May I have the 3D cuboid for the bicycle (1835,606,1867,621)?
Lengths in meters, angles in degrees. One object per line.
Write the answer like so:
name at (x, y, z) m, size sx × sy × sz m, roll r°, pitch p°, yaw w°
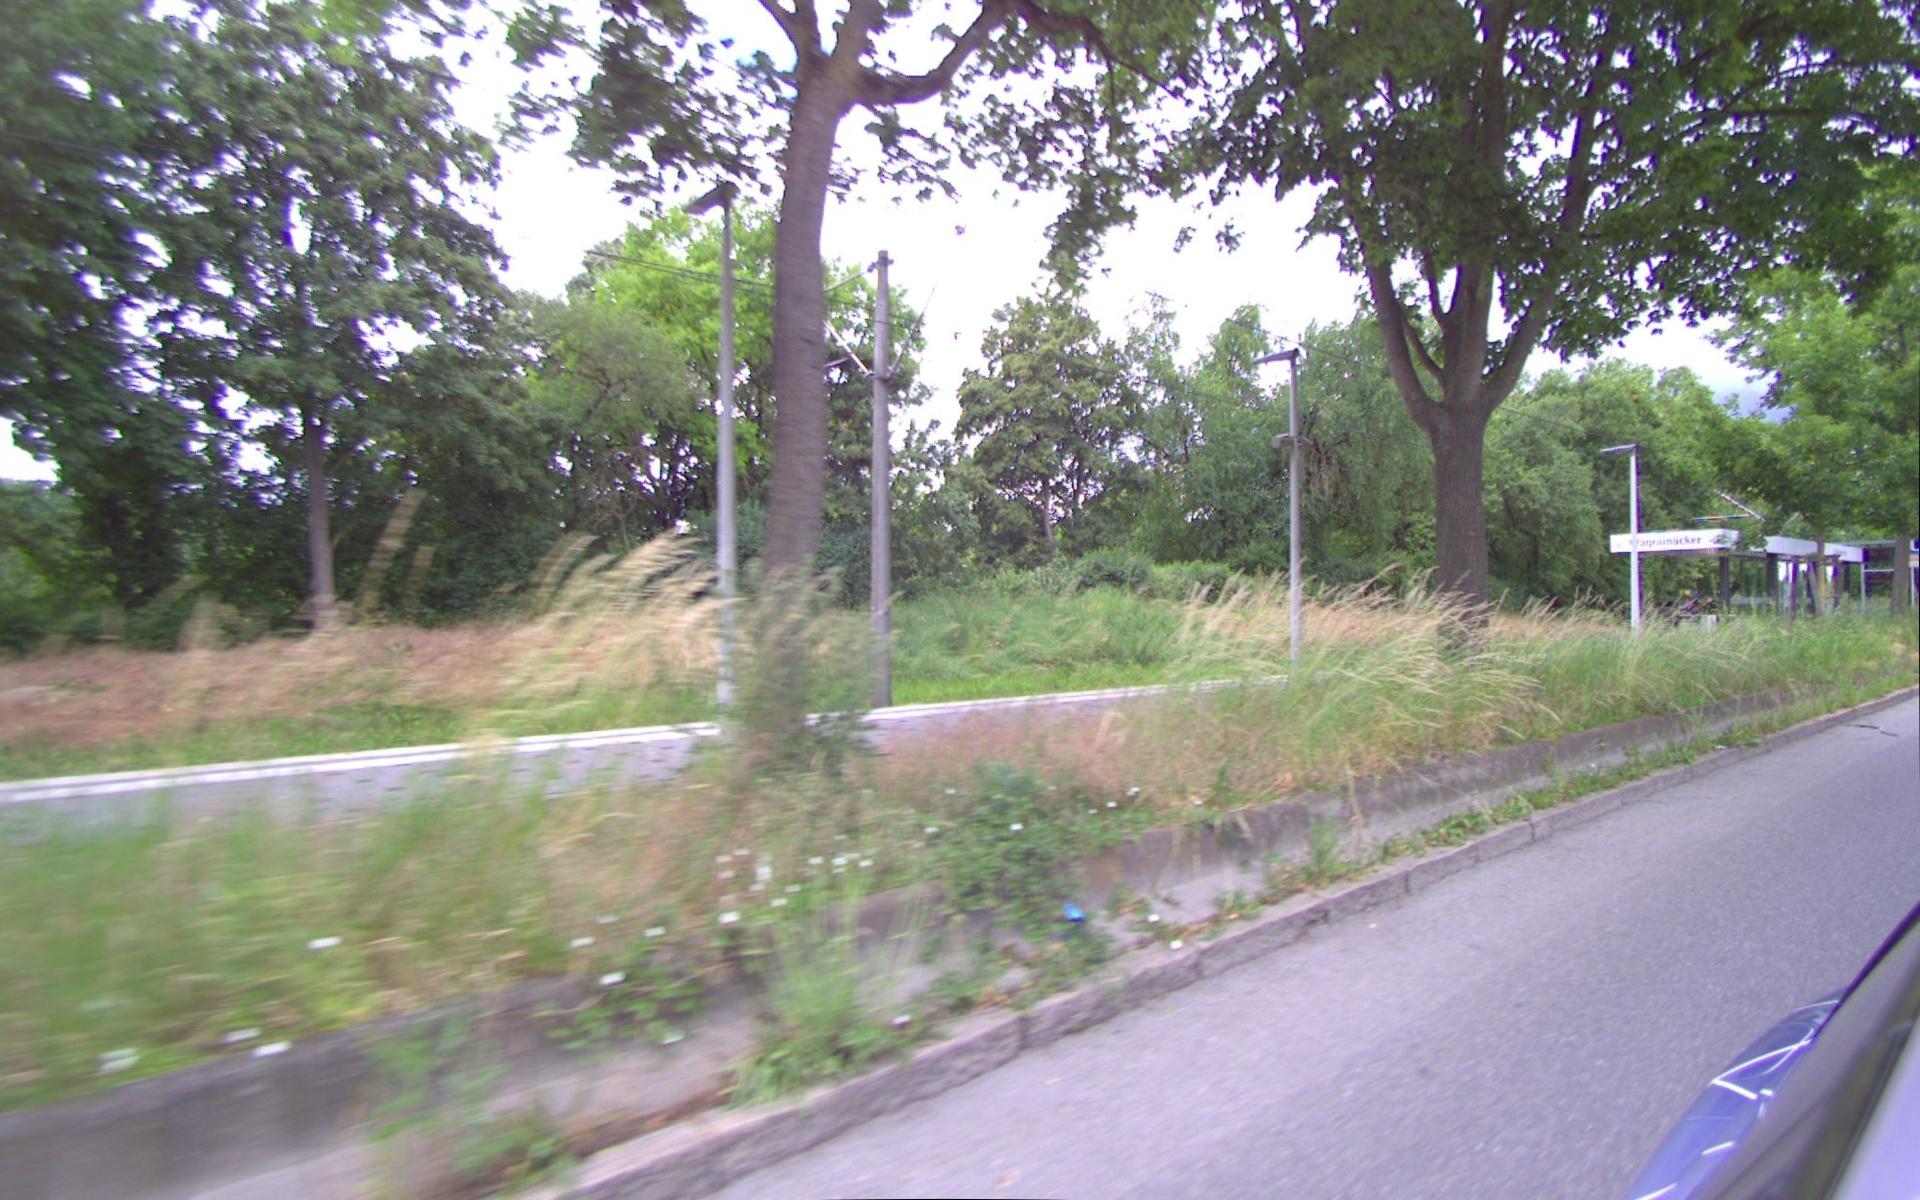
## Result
bicycle at (59.458, 0.922, 67.568) m, size 0.441 × 0.986 × 1.514 m, roll 1°, pitch -3°, yaw -32°
